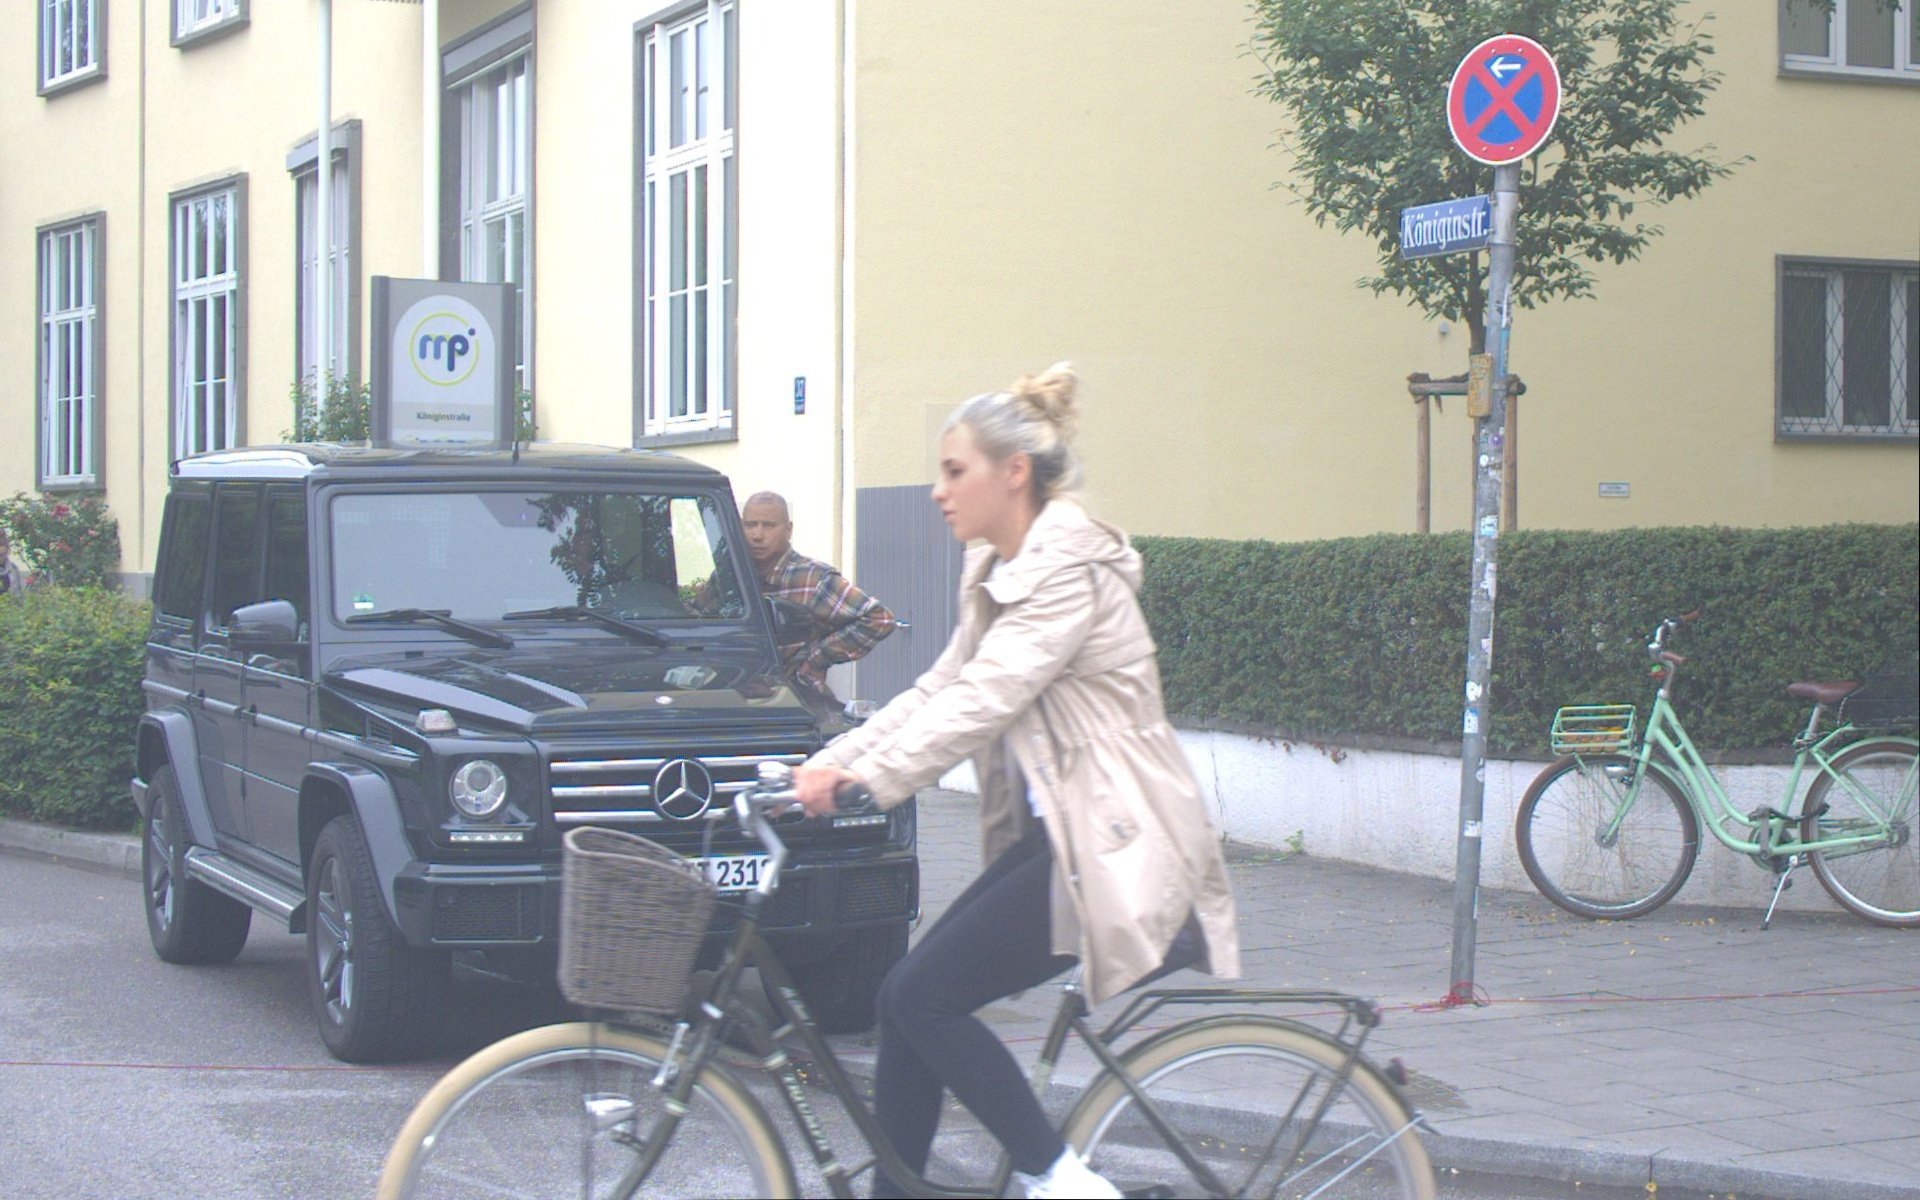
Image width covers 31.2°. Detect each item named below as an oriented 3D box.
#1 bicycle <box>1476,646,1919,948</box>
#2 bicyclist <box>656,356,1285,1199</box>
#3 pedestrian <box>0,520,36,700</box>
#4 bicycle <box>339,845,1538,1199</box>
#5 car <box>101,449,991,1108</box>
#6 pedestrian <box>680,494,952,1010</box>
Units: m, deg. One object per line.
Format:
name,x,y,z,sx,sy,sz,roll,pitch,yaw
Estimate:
bicycle,2.975,0.731,13.027,1.947,1.081,0.528,-2,-1,33
bicyclist,-0.007,0.425,5.940,1.003,1.650,0.696,0,1,-7
pedestrian,-9.145,0.090,32.503,0.631,1.678,0.698,-1,1,-25
bicycle,-0.054,0.976,5.936,1.960,1.021,0.685,0,1,-7
car,-1.702,0.461,12.290,1.873,1.881,4.620,-1,1,-24
pedestrian,-0.530,0.507,12.246,0.848,1.751,0.954,-1,1,-9
